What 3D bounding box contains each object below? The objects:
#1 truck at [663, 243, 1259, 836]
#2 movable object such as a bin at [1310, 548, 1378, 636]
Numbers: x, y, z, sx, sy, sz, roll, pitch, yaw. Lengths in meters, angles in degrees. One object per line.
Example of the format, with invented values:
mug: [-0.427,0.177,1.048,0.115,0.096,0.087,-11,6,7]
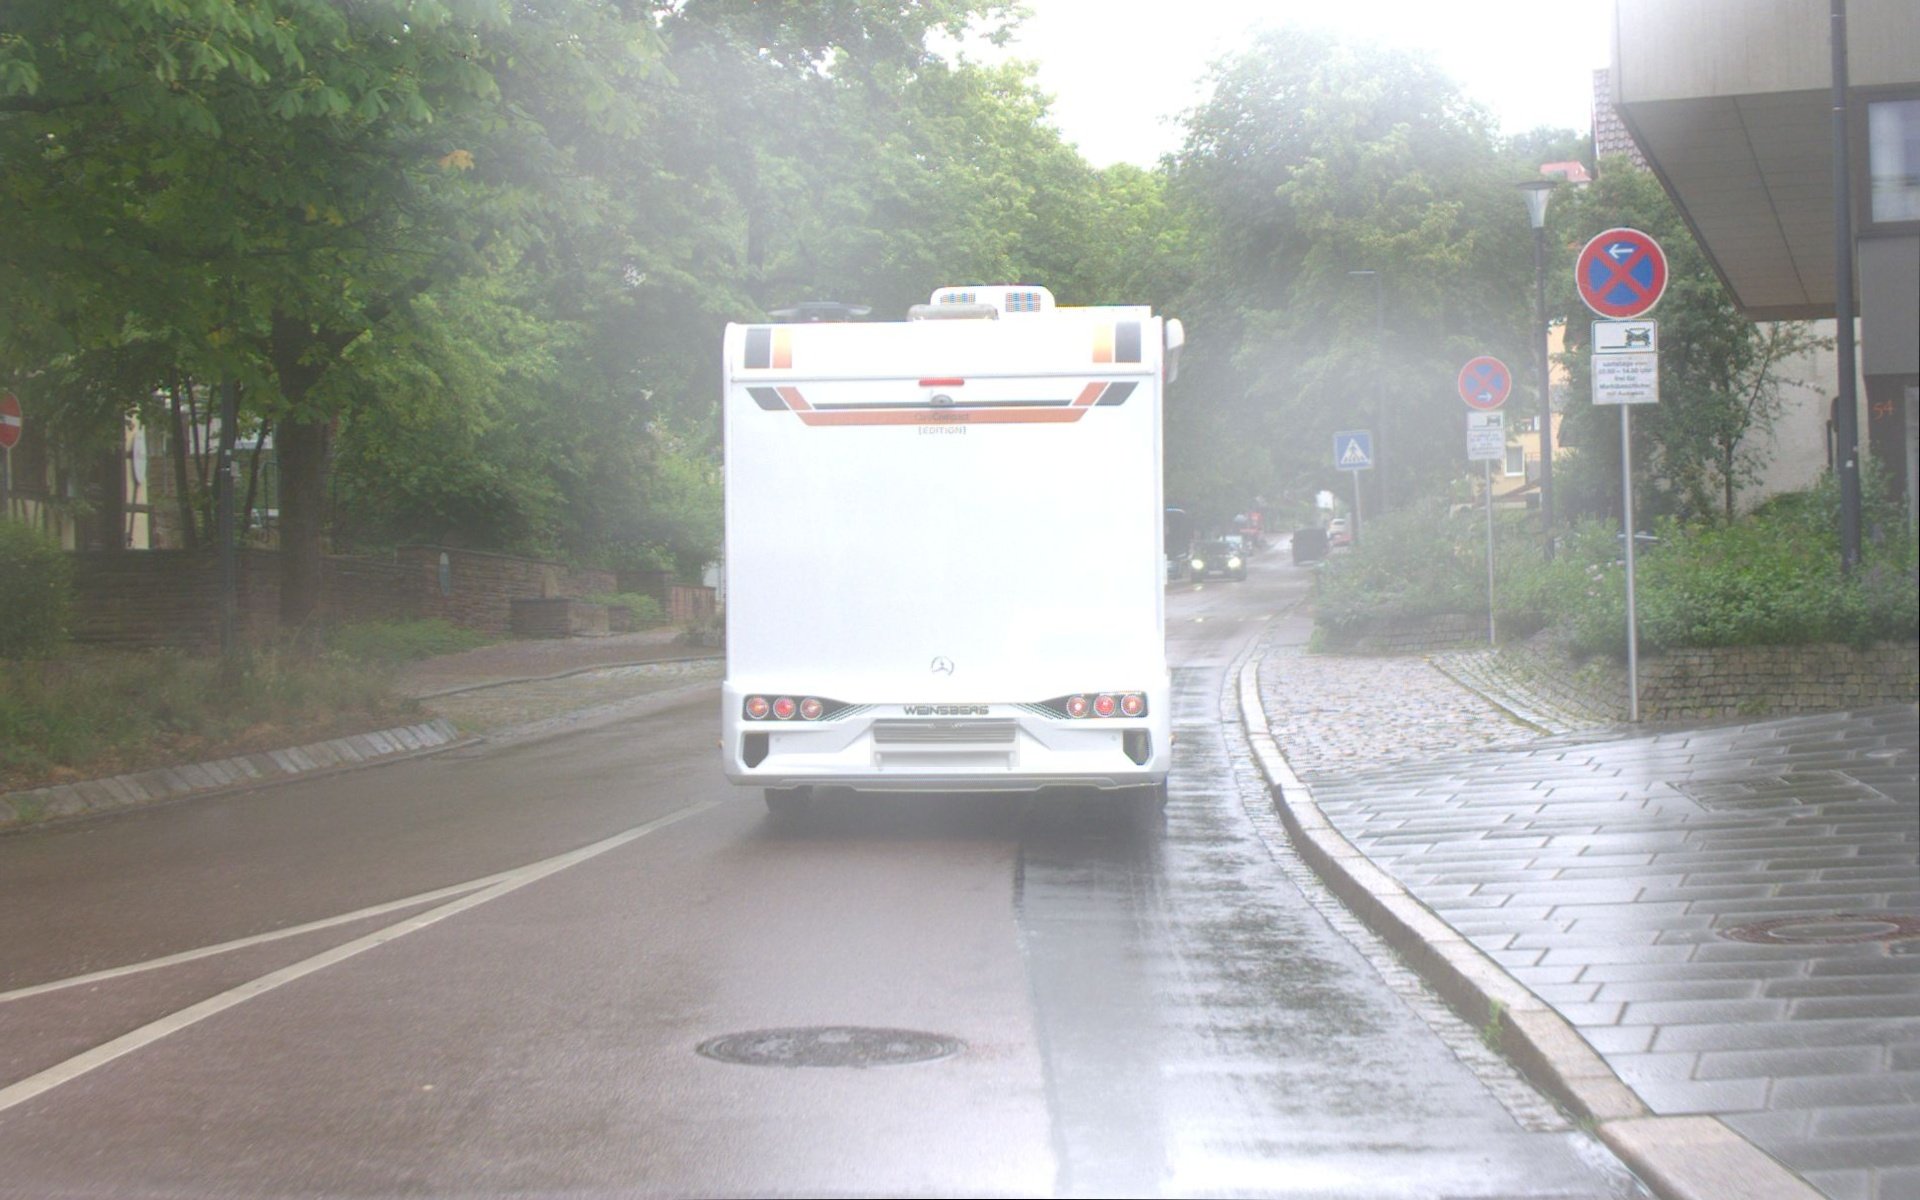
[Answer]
truck: [0.093,-0.283,19.866,2.806,2.787,6.106,-2,0,2]
movable object such as a bin: [5.013,-0.102,44.913,0.704,1.120,0.571,-2,0,23]
